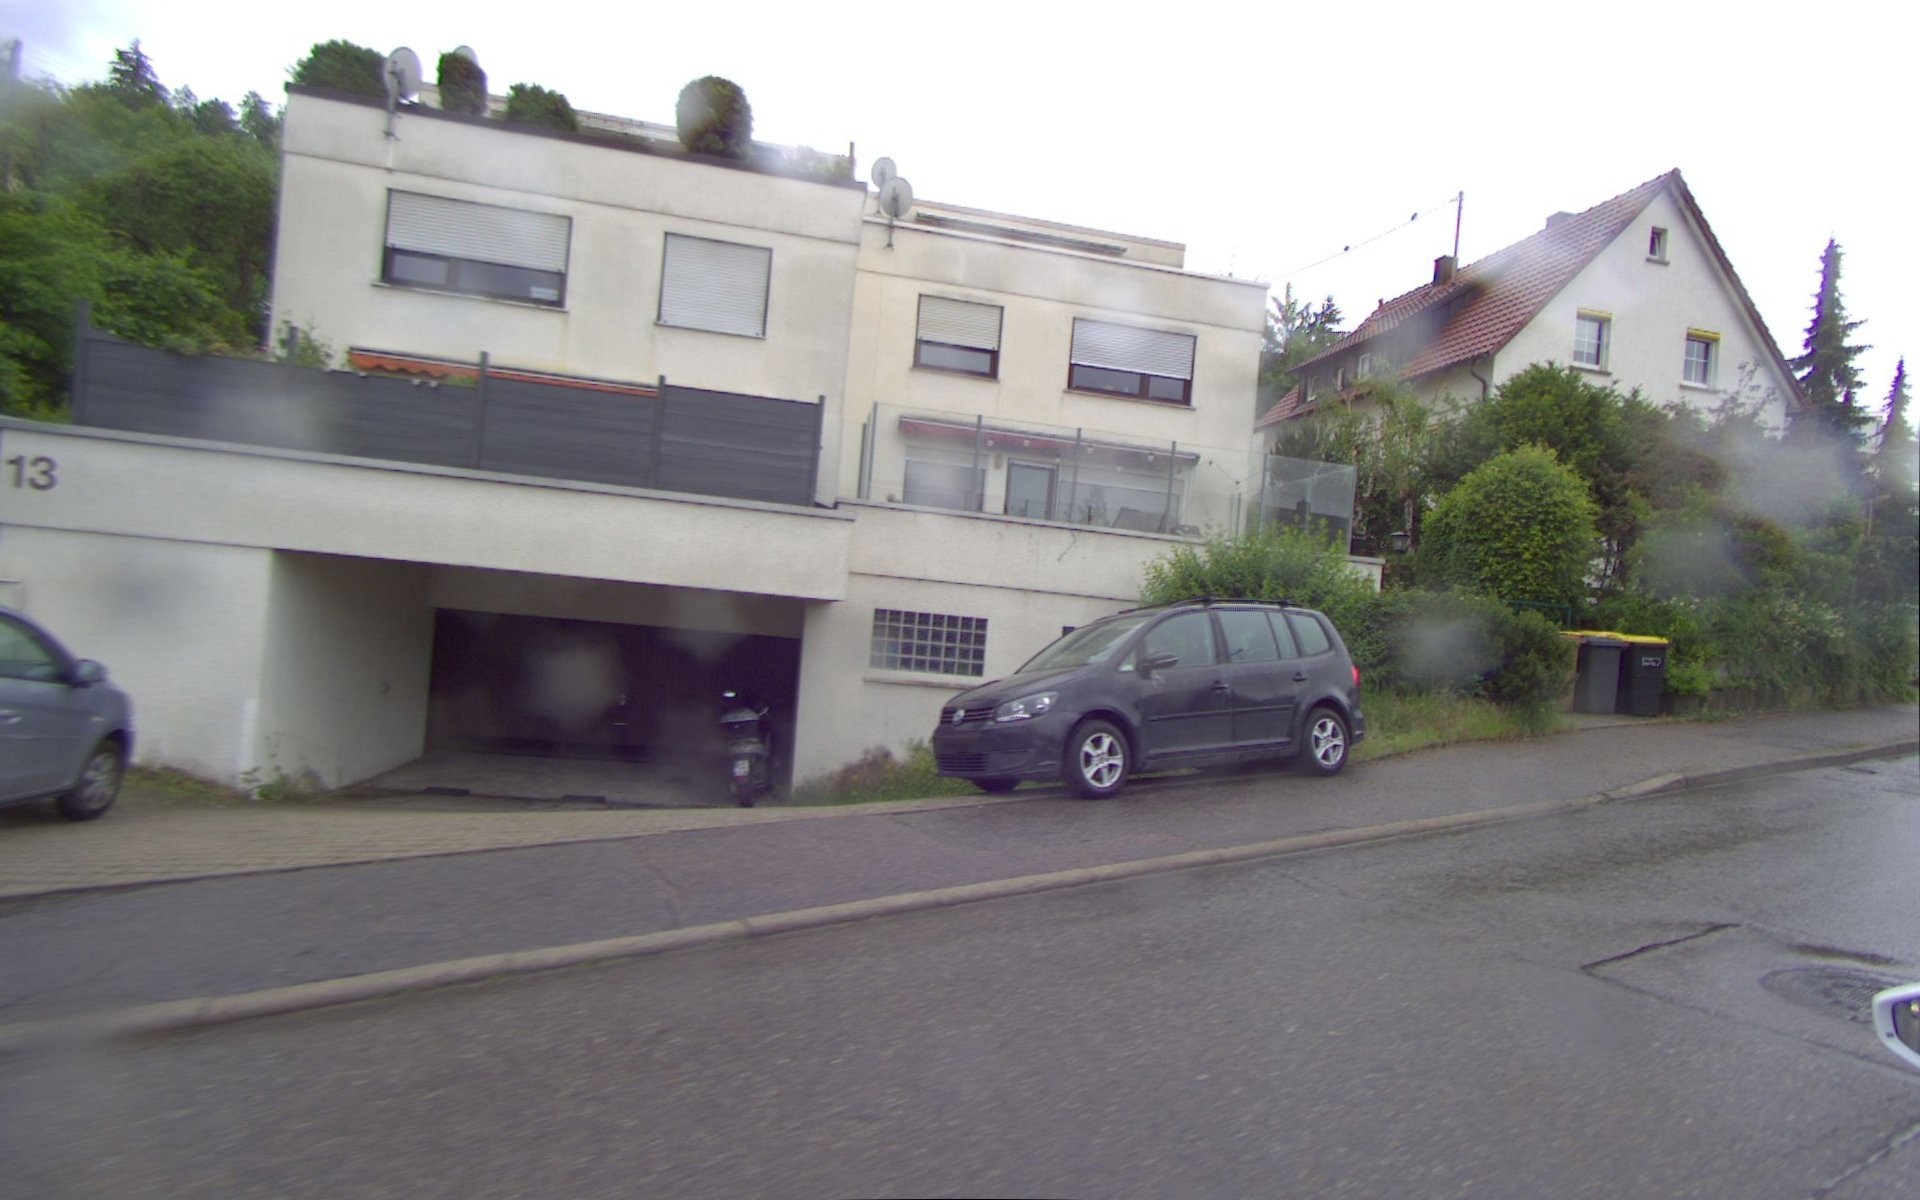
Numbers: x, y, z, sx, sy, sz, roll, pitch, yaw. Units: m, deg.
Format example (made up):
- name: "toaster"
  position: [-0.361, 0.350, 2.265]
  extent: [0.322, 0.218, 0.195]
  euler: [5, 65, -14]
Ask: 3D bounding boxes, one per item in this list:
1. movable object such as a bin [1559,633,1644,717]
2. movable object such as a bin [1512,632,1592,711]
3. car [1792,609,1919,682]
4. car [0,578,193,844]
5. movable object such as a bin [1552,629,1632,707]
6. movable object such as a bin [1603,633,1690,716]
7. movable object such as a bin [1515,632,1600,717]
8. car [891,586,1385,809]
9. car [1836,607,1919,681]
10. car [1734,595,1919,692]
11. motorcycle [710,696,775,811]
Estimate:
- name: "movable object such as a bin"
  position: [8.809, 1.019, 13.811]
  extent: [0.697, 1.097, 0.698]
  euler: [1, 0, -12]
- name: "movable object such as a bin"
  position: [8.565, 1.026, 14.558]
  extent: [0.697, 1.097, 0.698]
  euler: [1, 0, -12]
- name: "car"
  position: [23.711, 1.159, 25.166]
  extent: [1.862, 1.660, 4.055]
  euler: [3, 1, -14]
- name: "car"
  position: [-6.381, 0.645, 5.772]
  extent: [1.774, 1.496, 3.829]
  euler: [2, -6, -16]
- name: "movable object such as a bin"
  position: [9.273, 0.983, 14.756]
  extent: [0.697, 1.097, 0.698]
  euler: [1, 0, -12]
- name: "movable object such as a bin"
  position: [9.521, 1.021, 13.949]
  extent: [0.697, 1.097, 0.698]
  euler: [1, 0, -12]
- name: "movable object such as a bin"
  position: [8.114, 0.997, 13.661]
  extent: [0.697, 1.097, 0.698]
  euler: [1, 0, -12]
- name: "car"
  position: [1.729, 0.774, 9.210]
  extent: [4.368, 1.618, 1.793]
  euler: [2, -1, -32]
- name: "car"
  position: [26.446, 1.183, 26.241]
  extent: [2.106, 1.970, 5.086]
  euler: [2, -1, -14]
- name: "car"
  position: [19.733, 0.917, 21.927]
  extent: [1.864, 1.715, 4.051]
  euler: [3, 3, -17]
- name: "motorcycle"
  position: [-2.888, 2.013, 13.496]
  extent: [0.633, 1.268, 1.892]
  euler: [1, 0, -6]
